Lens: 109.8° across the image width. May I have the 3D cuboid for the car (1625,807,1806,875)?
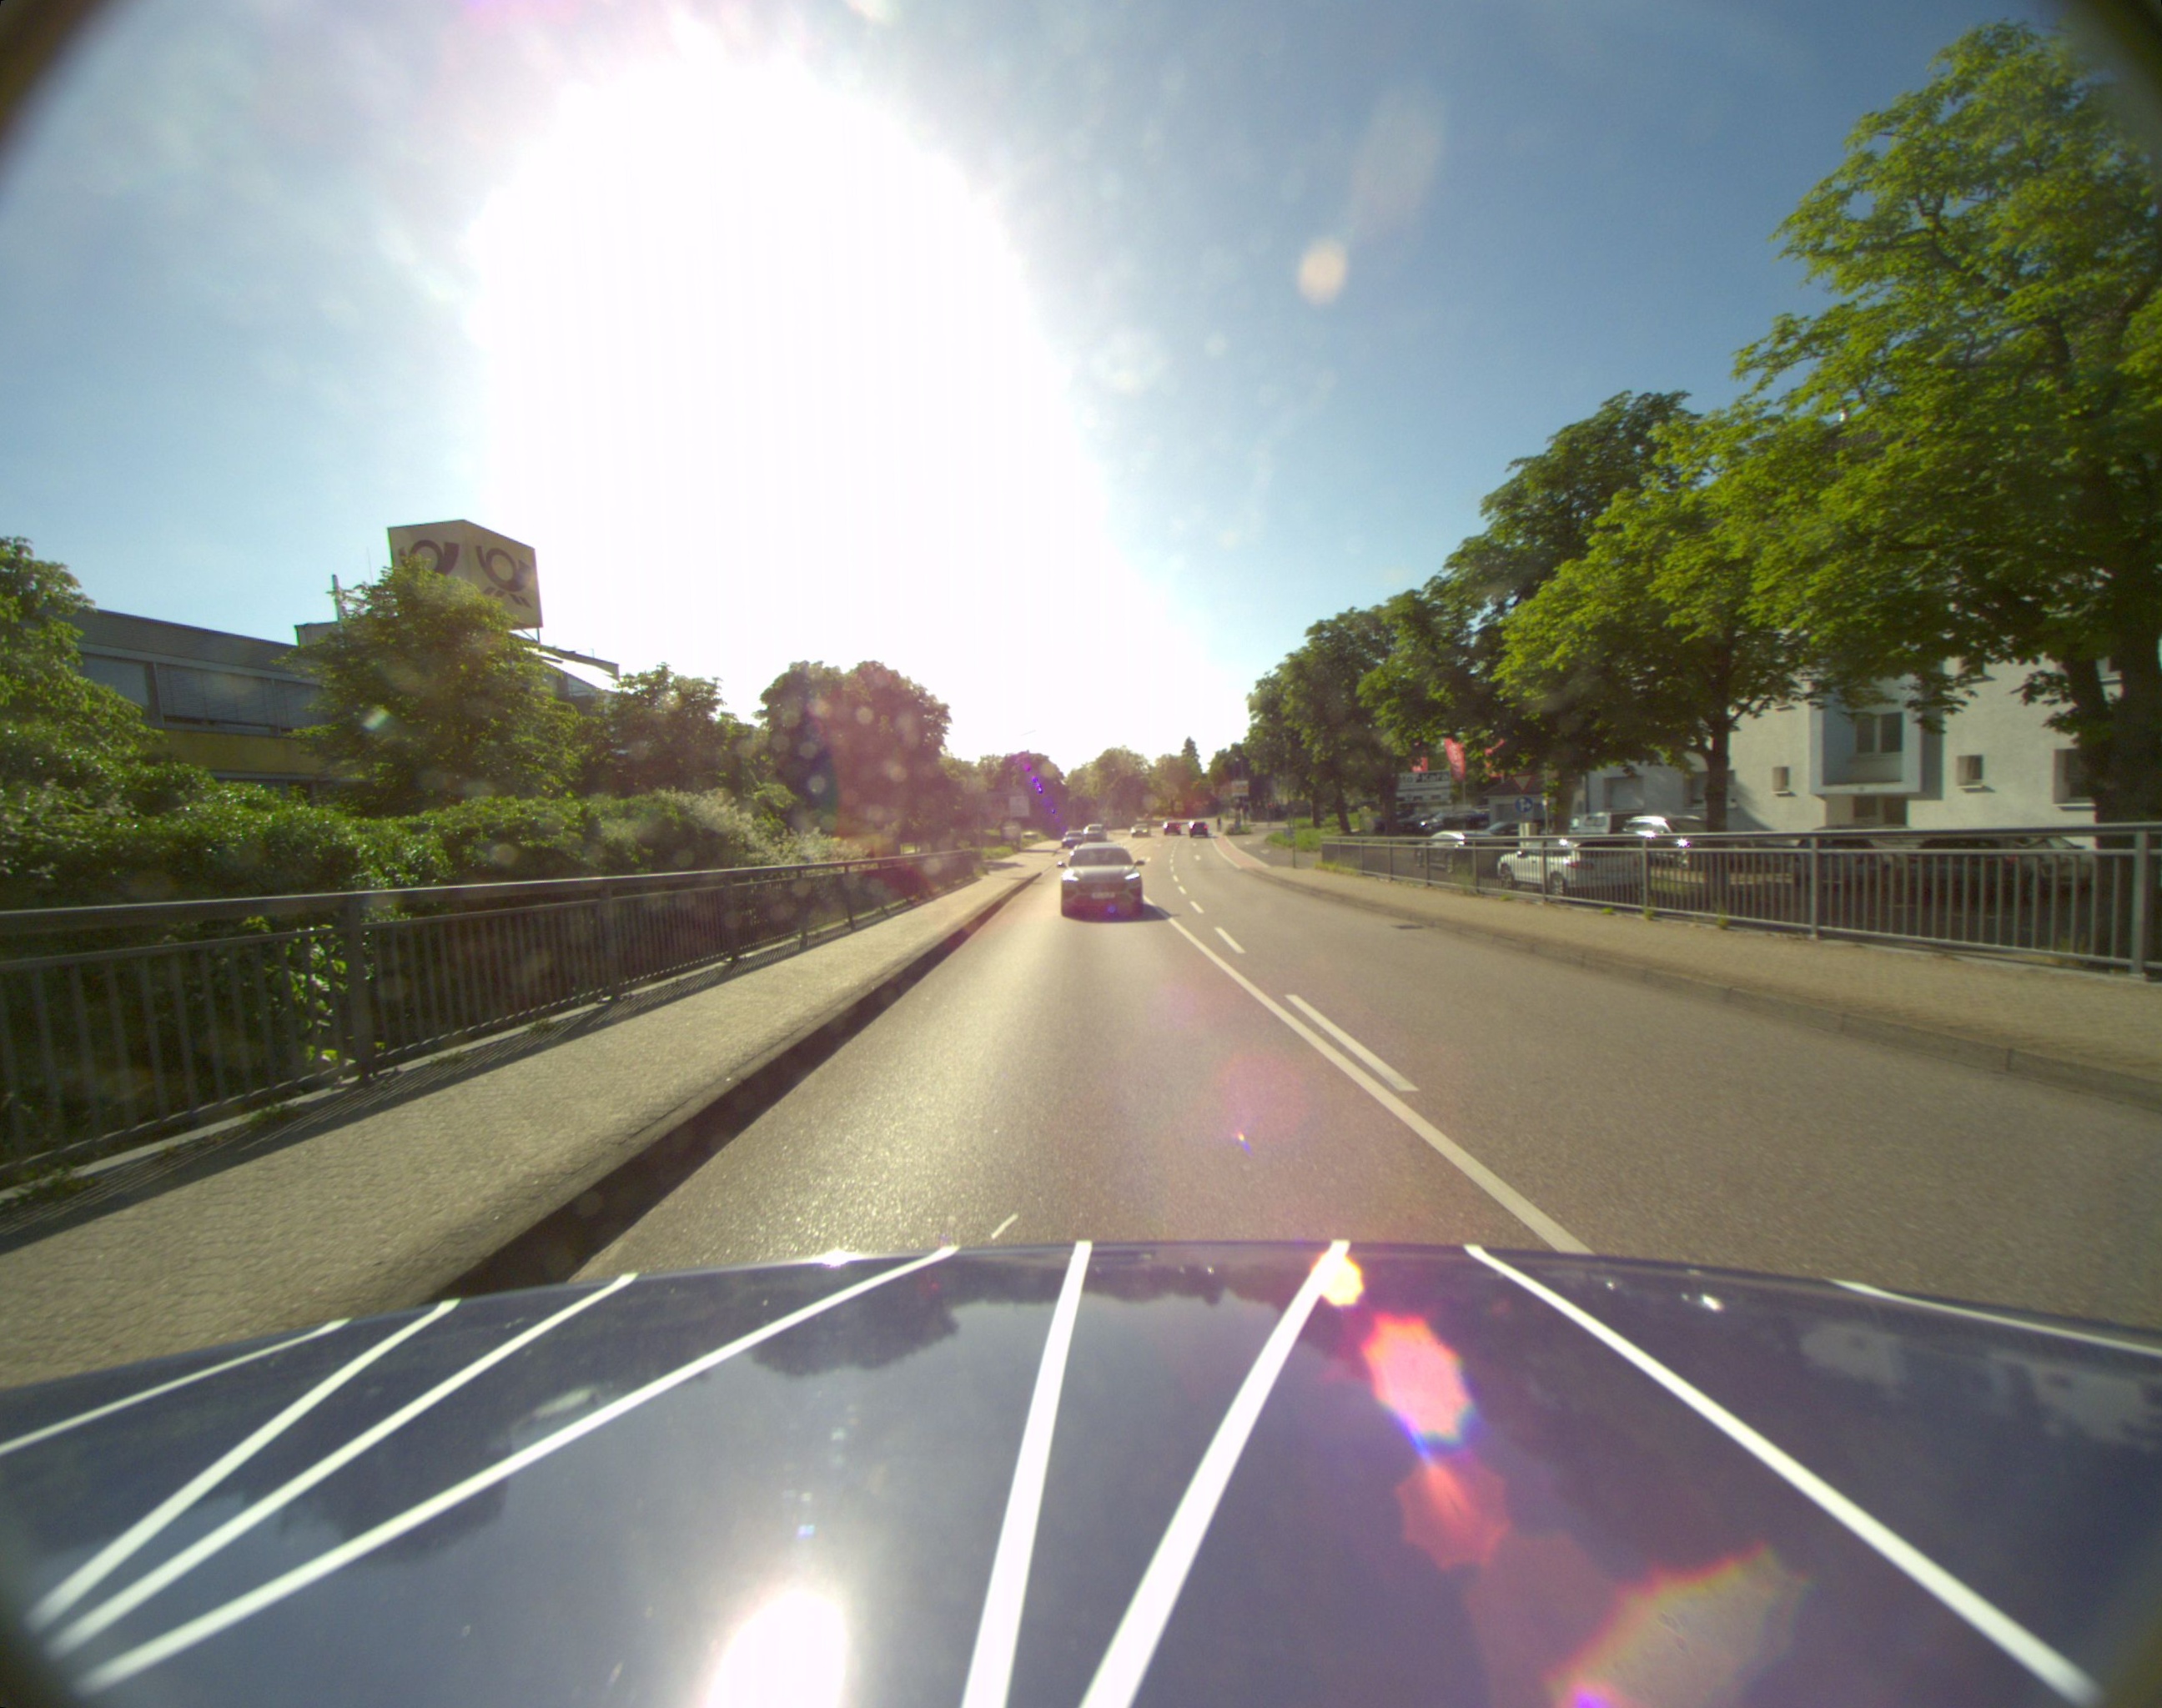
[{"bbox_3d":[20.806,-0.530,25.250,2.074,1.920,4.784,-4,3,1],"label":"car"}]

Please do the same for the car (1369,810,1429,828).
[{"bbox_3d":[25.371,-2.793,60.636,3.933,1.234,2.041,-4,3,-13],"label":"car"}]

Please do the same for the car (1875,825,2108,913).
[{"bbox_3d":[20.020,0.252,16.745,4.003,1.589,1.996,-3,3,-19],"label":"car"}]

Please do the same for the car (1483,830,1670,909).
[{"bbox_3d":[13.814,0.311,21.683,2.042,1.719,5.234,-4,3,2],"label":"car"}]

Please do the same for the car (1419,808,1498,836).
[{"bbox_3d":[24.308,-2.064,48.983,4.410,1.567,1.811,-4,3,-14],"label":"car"}]

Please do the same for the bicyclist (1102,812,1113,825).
[{"bbox_3d":[3.557,-4.852,102.892,0.890,1.684,1.192,-2,4,31],"label":"bicyclist"}]

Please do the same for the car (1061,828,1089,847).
[{"bbox_3d":[-0.485,-1.471,66.524,1.812,1.412,4.424,-2,3,7],"label":"car"}]

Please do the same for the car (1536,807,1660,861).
[{"bbox_3d":[20.794,-0.908,30.849,1.751,1.920,5.101,-3,3,3],"label":"car"}]

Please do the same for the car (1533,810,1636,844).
[{"bbox_3d":[25.654,-1.401,38.816,3.997,1.422,1.906,-4,5,-2],"label":"car"}]

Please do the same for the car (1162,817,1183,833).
[{"bbox_3d":[10.536,-3.347,87.836,1.918,1.591,3.996,-1,5,0],"label":"car"}]

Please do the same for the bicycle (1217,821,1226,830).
[{"bbox_3d":[16.828,-3.401,90.731,0.938,1.011,2.197,-3,3,12],"label":"bicycle"}]

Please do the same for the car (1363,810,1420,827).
[{"bbox_3d":[25.911,-2.962,63.448,3.933,1.234,2.041,-4,3,-13],"label":"car"}]

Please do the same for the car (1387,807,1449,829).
[{"bbox_3d":[25.692,-2.736,57.966,3.880,1.405,1.944,-4,3,-11],"label":"car"}]

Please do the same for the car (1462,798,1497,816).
[{"bbox_3d":[35.647,-4.222,68.021,1.742,1.454,4.001,-2,4,12],"label":"car"}]

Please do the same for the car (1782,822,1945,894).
[{"bbox_3d":[20.126,0.052,19.545,3.673,1.502,1.781,-5,3,-25],"label":"car"}]

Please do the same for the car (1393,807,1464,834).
[{"bbox_3d":[23.752,-2.278,51.988,3.999,1.602,1.920,-4,3,-6],"label":"car"}]

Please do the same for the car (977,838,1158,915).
[{"bbox_3d":[-0.353,0.575,18.739,4.045,1.636,1.718,-3,2,28],"label":"car"}]

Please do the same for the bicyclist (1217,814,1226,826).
[{"bbox_3d":[16.770,-4.059,90.624,0.935,1.394,0.823,-3,3,12],"label":"bicyclist"}]

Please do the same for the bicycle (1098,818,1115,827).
[{"bbox_3d":[3.528,-4.232,102.821,0.901,1.119,2.957,-2,3,31],"label":"bicycle"}]

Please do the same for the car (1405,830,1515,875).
[{"bbox_3d":[14.444,-0.122,29.327,2.042,1.456,4.961,-3,2,4],"label":"car"}]

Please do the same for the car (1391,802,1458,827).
[{"bbox_3d":[24.710,-2.831,54.698,4.001,1.552,1.997,-4,3,-13],"label":"car"}]

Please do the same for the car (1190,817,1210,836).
[{"bbox_3d":[12.258,-2.845,78.485,1.856,1.726,4.270,-3,3,8],"label":"car"}]

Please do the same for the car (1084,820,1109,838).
[{"bbox_3d":[1.638,-2.609,78.549,1.876,1.713,4.612,-1,4,10],"label":"car"}]
